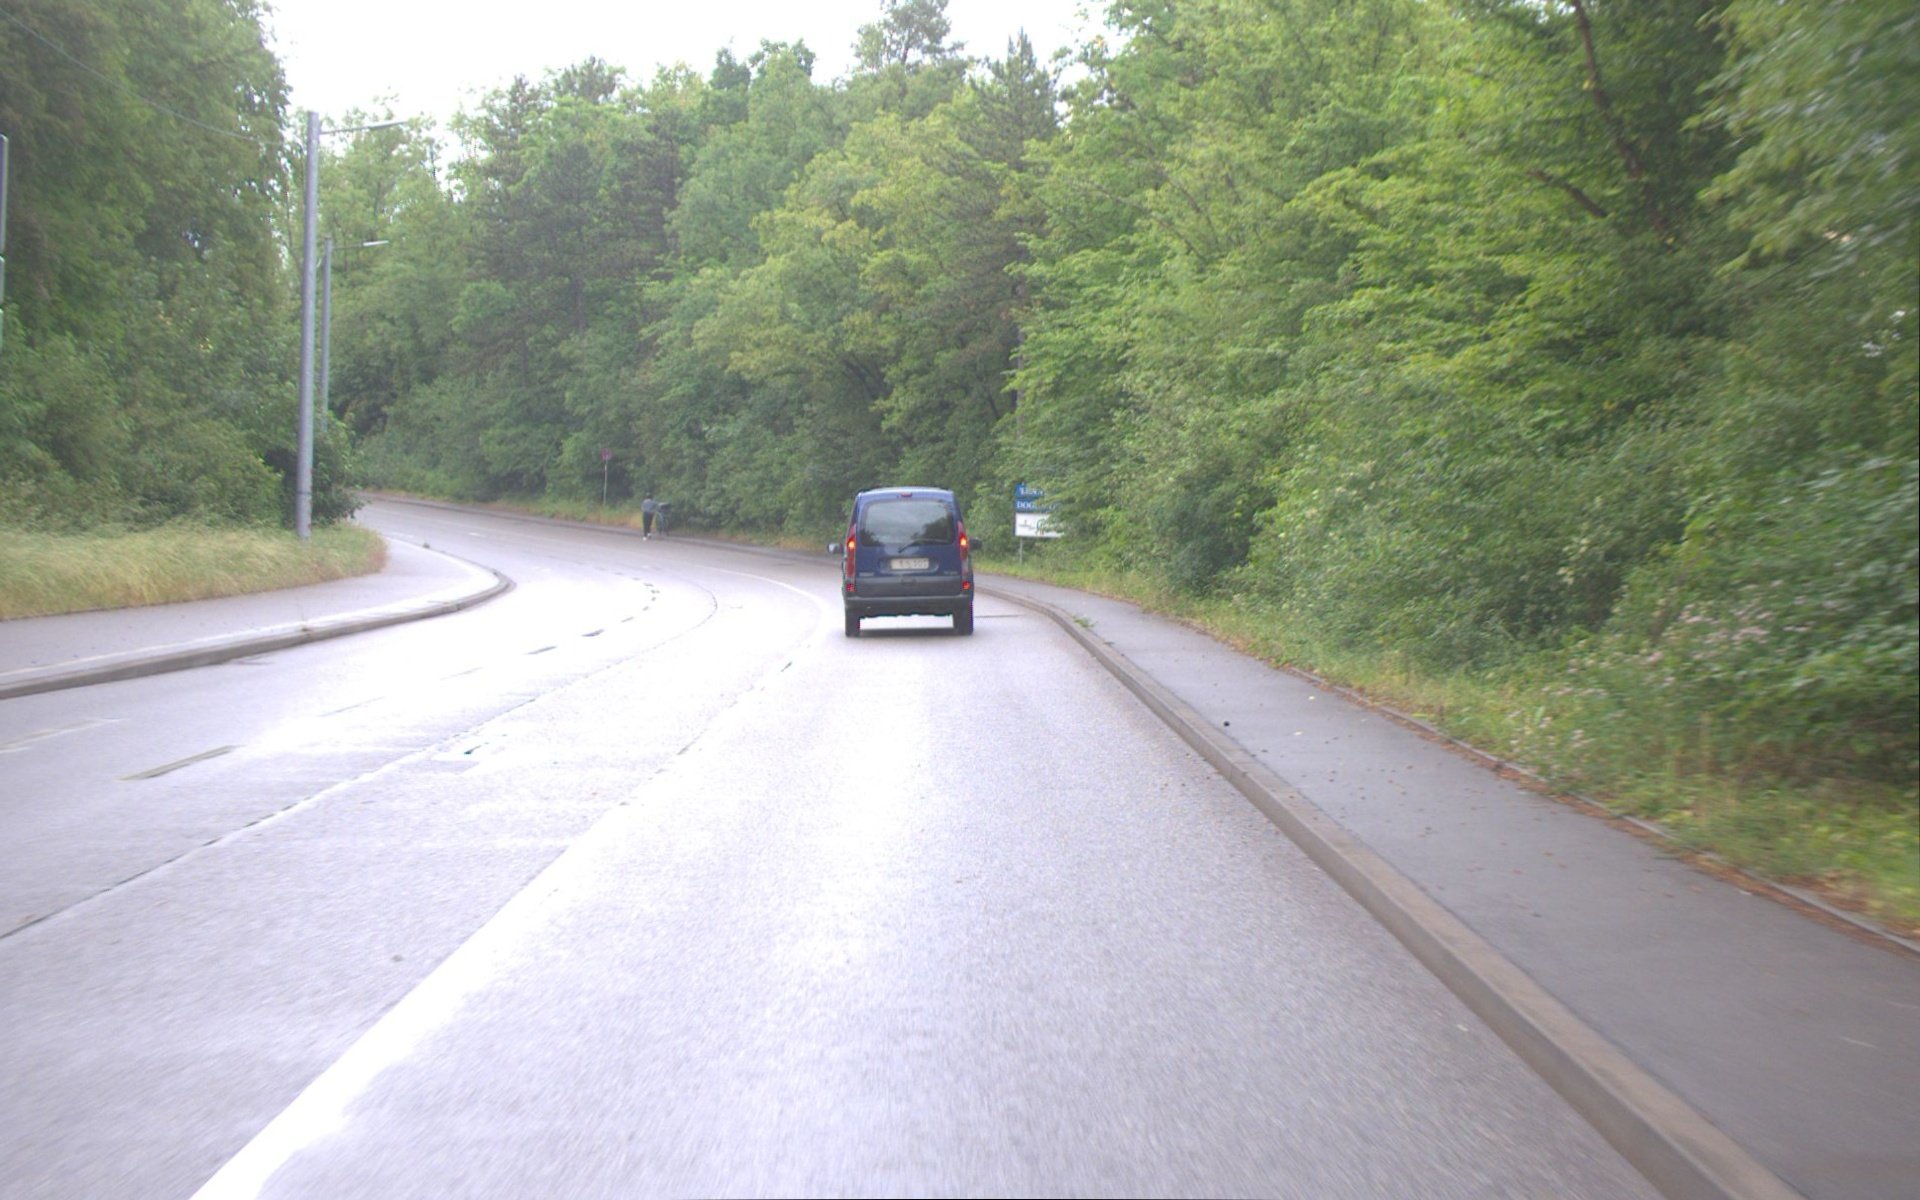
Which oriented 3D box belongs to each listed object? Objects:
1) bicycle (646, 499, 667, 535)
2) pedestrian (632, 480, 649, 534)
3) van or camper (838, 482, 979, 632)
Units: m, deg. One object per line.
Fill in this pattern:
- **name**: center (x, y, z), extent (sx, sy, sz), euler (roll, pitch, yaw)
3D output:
- **bicycle**: center (-10.532, -2.870, 119.229), extent (0.488, 1.241, 1.748), euler (1, 1, -13)
- **pedestrian**: center (-11.081, -3.235, 119.130), extent (0.490, 1.863, 0.680), euler (1, 1, -13)
- **van or camper**: center (-0.674, -0.532, 44.173), extent (1.712, 1.819, 4.000), euler (-1, 0, -1)
